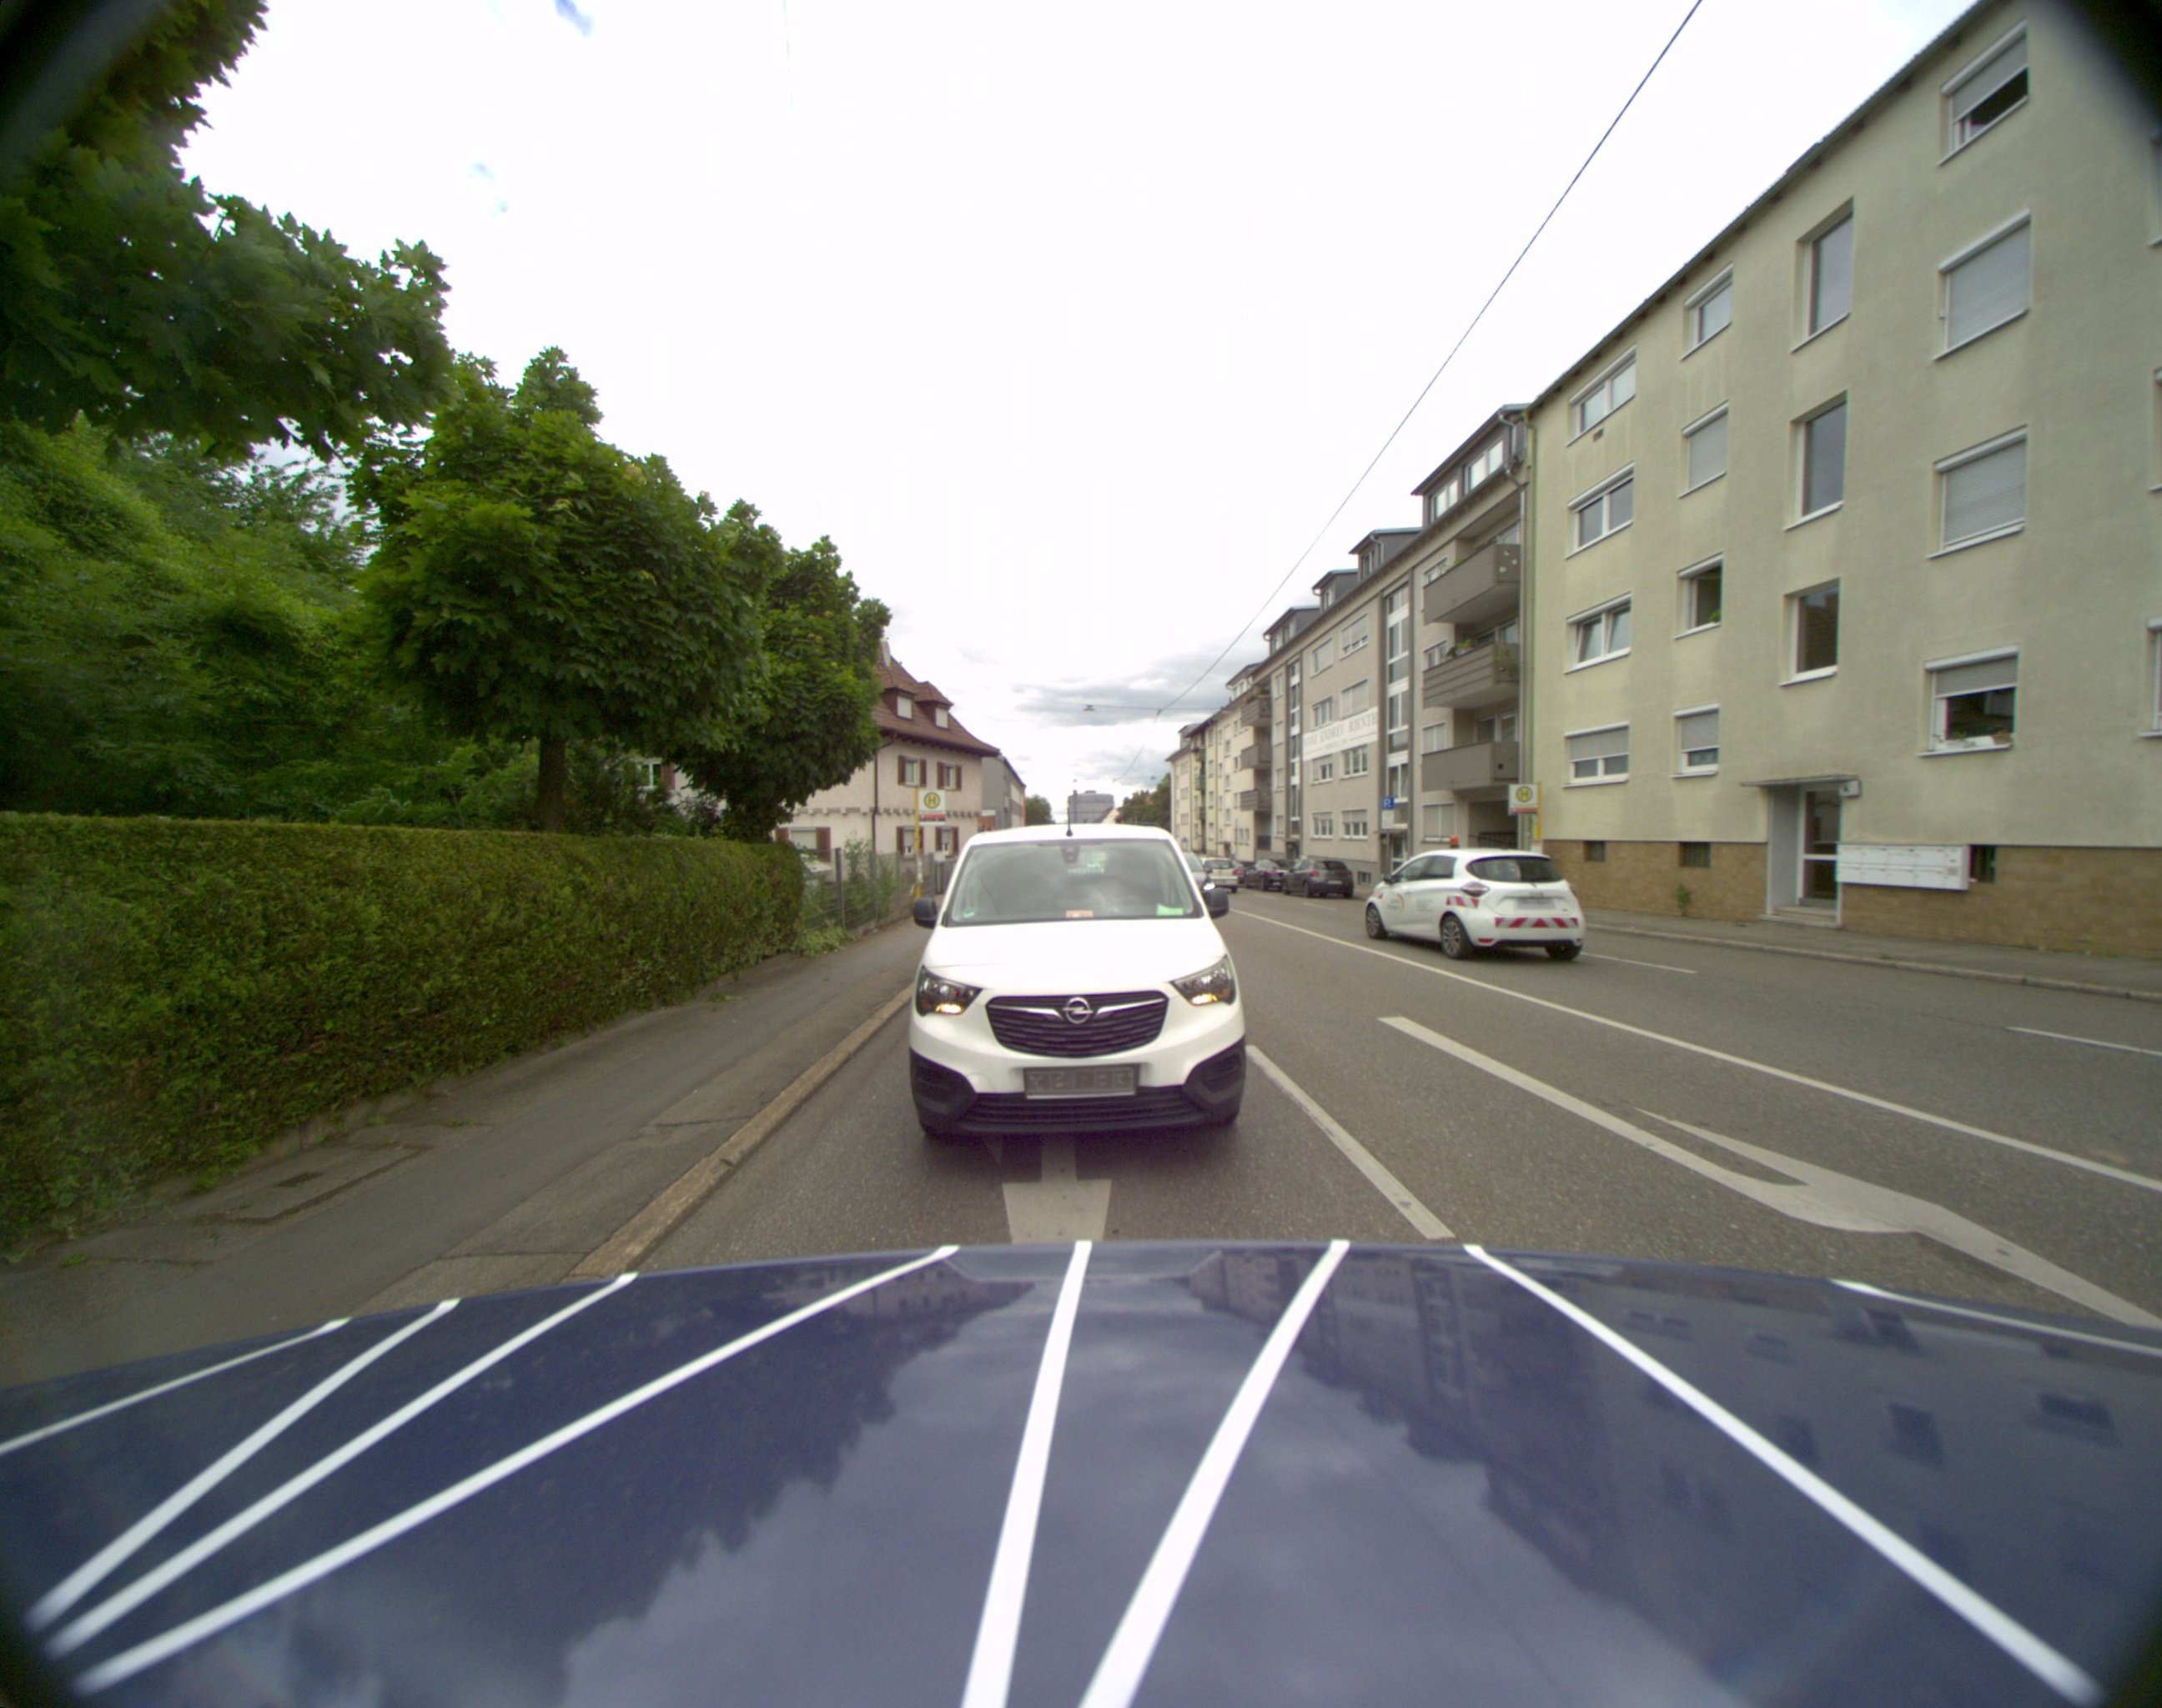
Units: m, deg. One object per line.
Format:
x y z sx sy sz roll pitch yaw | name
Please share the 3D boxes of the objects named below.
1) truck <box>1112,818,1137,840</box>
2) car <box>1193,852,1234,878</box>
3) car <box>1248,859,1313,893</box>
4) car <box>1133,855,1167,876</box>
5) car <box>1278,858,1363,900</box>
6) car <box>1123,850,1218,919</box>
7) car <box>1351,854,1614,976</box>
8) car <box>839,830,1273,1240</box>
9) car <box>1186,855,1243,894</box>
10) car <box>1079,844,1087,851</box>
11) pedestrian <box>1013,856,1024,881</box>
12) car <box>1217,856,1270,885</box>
5.392 -3.102 94.511 2.547 2.522 5.493 -1 0 -2 | truck
8.440 0.686 48.682 1.776 1.591 3.538 0 1 -5 | car
8.733 0.921 33.523 1.669 1.368 3.538 0 1 -5 | car
4.690 0.762 52.163 1.776 1.395 3.642 0 1 -5 | car
8.904 0.886 28.574 1.776 1.403 3.685 0 1 -5 | car
2.320 0.729 20.893 1.863 1.601 4.478 -2 1 -2 | car
5.815 0.770 11.671 1.775 1.513 4.082 0 1 -2 | car
-0.078 0.787 5.737 1.862 1.772 4.711 -2 1 1 | car
5.572 0.815 32.105 1.593 1.474 3.598 -1 1 -3 | car
0.635 -1.789 210.440 1.999 1.892 3.998 -1 0 -4 | car
-4.586 1.054 56.009 0.647 1.830 0.592 -1 1 4 | pedestrian
8.394 0.830 39.549 1.776 1.395 3.538 0 1 -5 | car
